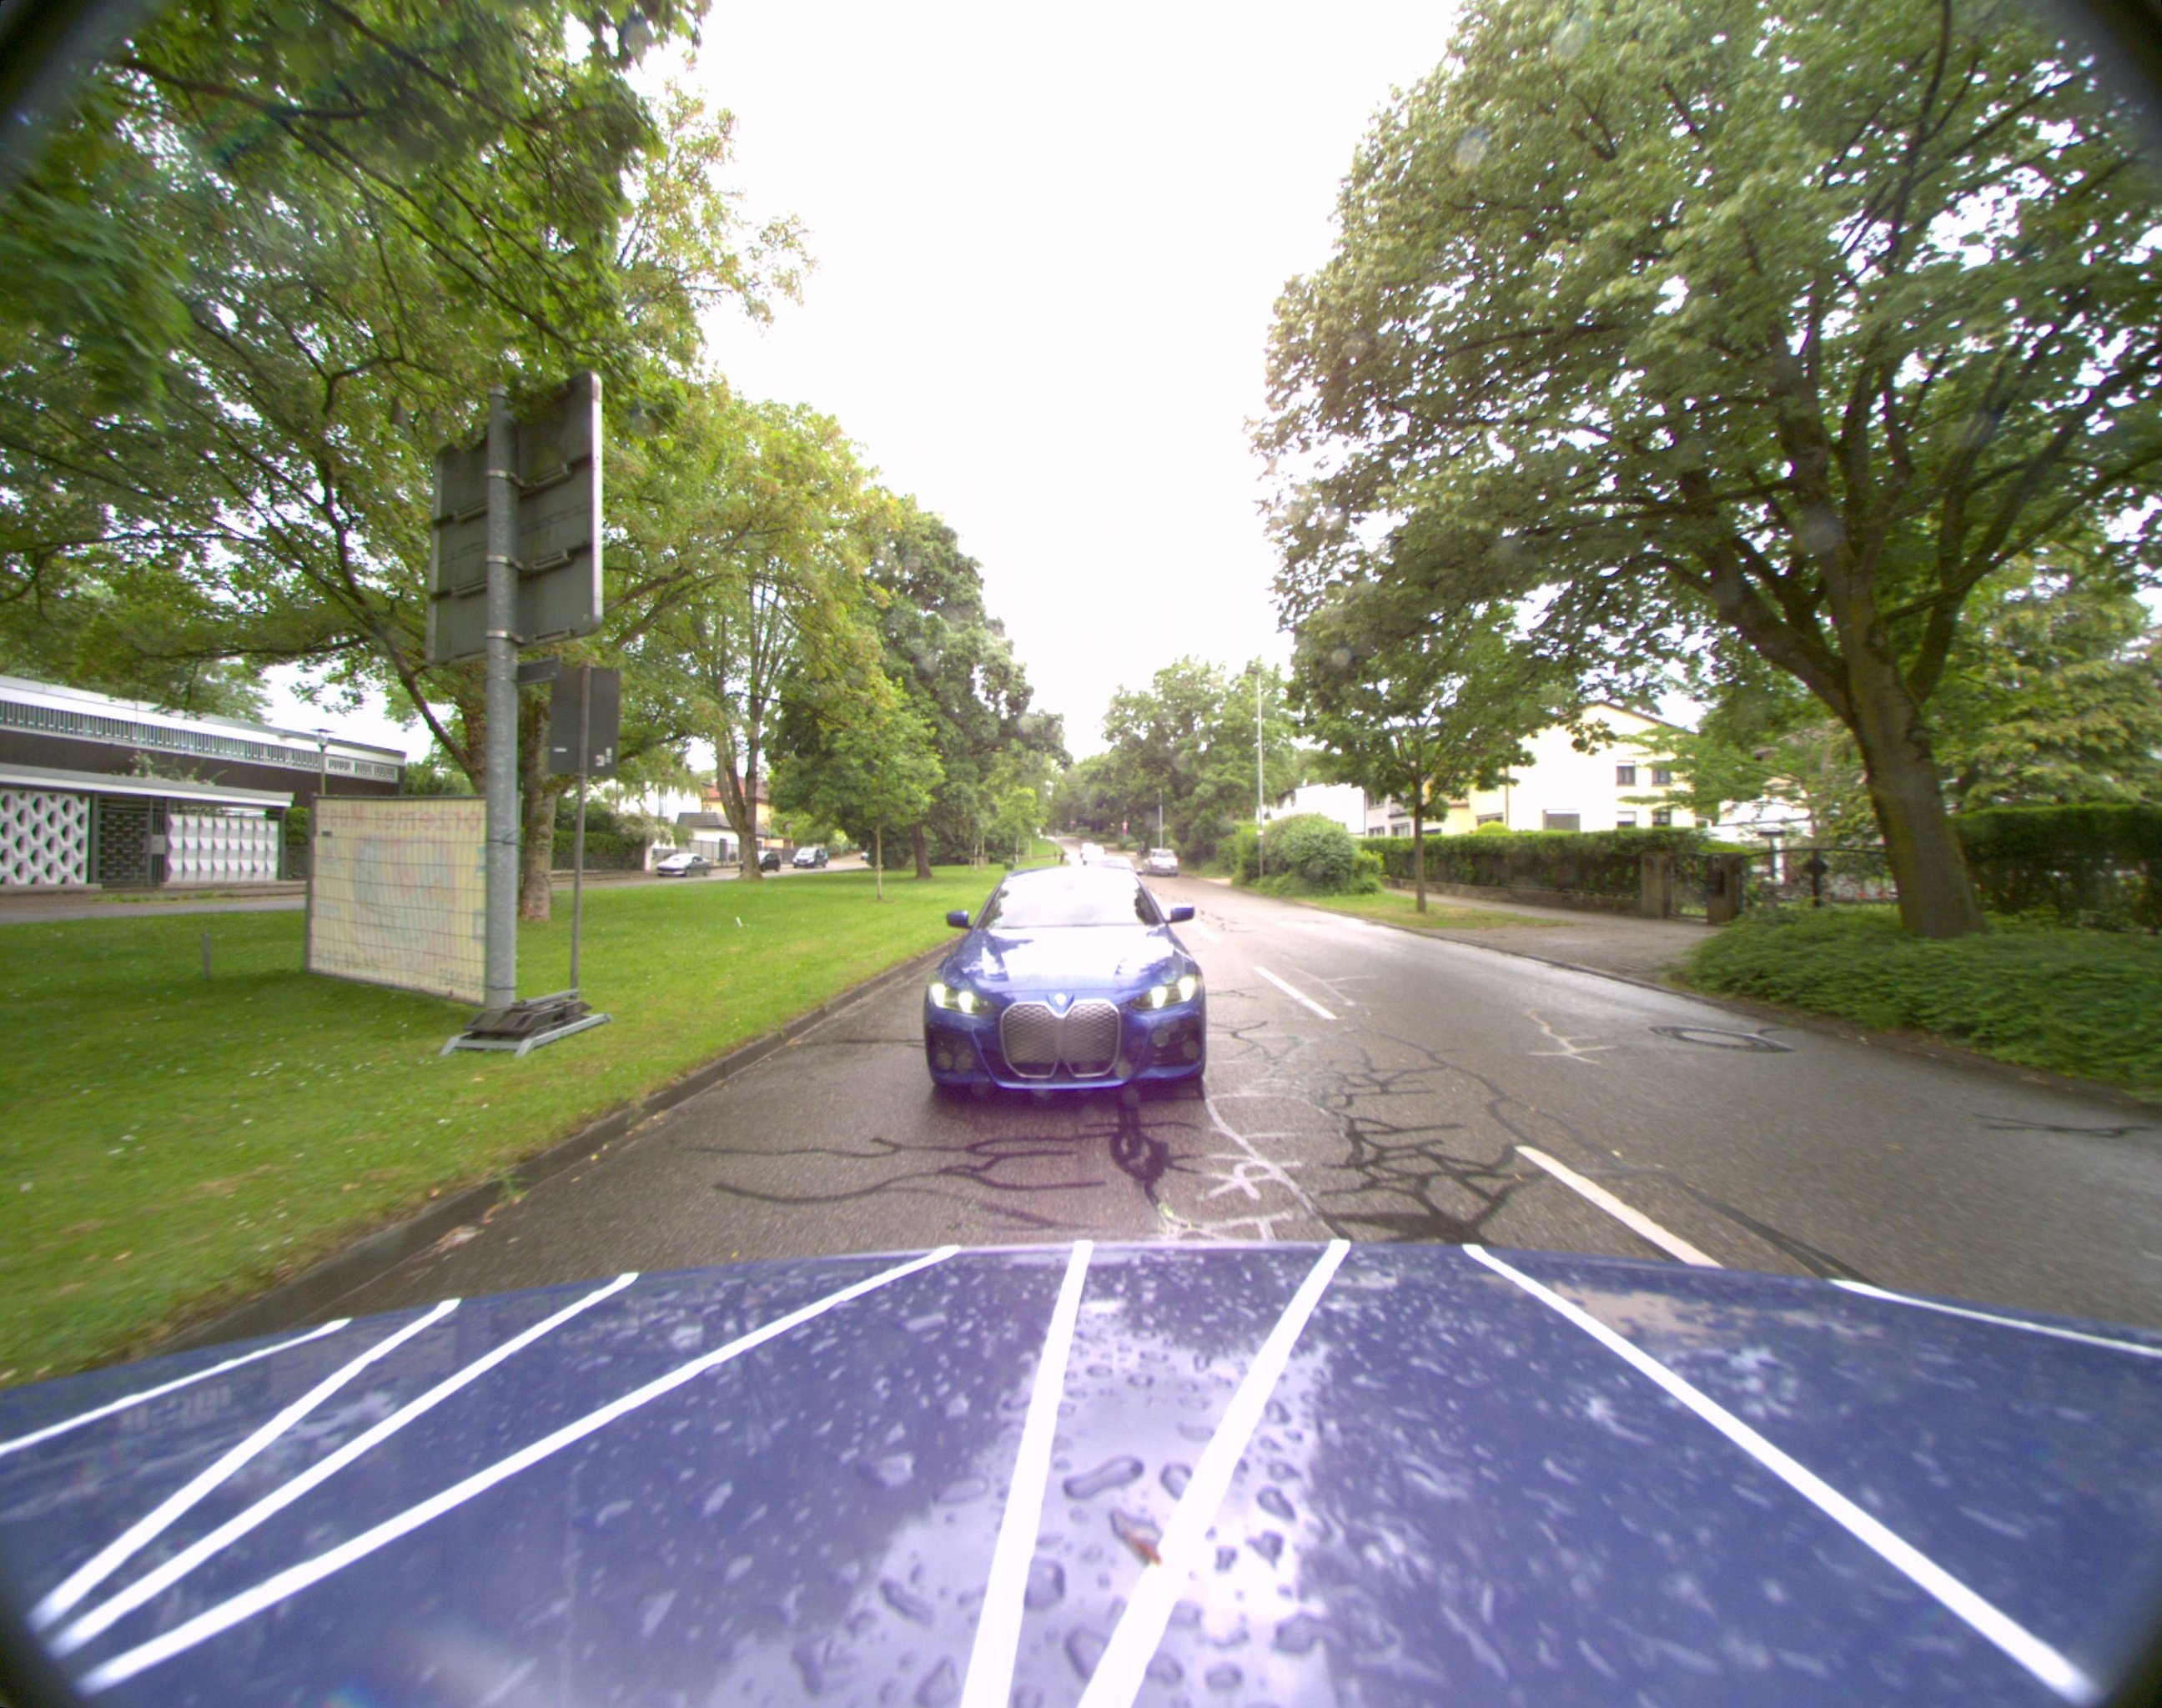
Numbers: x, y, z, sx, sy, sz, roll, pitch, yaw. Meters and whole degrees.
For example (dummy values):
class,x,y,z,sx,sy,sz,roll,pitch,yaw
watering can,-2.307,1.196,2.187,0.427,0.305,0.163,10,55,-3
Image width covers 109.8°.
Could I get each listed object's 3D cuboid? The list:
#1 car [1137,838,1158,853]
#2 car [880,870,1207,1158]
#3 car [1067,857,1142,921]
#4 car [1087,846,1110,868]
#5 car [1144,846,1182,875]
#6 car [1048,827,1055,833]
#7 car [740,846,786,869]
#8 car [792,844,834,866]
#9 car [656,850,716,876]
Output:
class,x,y,z,sx,sy,sz,roll,pitch,yaw
car,7.563,-0.991,86.771,1.668,1.534,4.281,-4,2,-3
car,-0.113,0.969,6.577,1.796,1.459,4.510,-3,0,3
car,0.670,0.855,20.520,1.796,1.459,4.510,0,0,3
car,1.317,0.205,58.139,1.678,1.542,3.831,1,1,1
car,4.757,0.379,44.434,1.768,1.605,4.141,1,0,0
car,-8.006,-6.577,207.029,1.759,1.356,4.322,1,3,-1
car,-23.834,0.264,57.097,1.907,1.615,4.033,0,2,-2
car,-24.493,0.059,69.651,2.165,1.868,5.067,0,1,-2
car,-23.348,0.507,45.077,1.686,1.368,3.708,2,1,-2
